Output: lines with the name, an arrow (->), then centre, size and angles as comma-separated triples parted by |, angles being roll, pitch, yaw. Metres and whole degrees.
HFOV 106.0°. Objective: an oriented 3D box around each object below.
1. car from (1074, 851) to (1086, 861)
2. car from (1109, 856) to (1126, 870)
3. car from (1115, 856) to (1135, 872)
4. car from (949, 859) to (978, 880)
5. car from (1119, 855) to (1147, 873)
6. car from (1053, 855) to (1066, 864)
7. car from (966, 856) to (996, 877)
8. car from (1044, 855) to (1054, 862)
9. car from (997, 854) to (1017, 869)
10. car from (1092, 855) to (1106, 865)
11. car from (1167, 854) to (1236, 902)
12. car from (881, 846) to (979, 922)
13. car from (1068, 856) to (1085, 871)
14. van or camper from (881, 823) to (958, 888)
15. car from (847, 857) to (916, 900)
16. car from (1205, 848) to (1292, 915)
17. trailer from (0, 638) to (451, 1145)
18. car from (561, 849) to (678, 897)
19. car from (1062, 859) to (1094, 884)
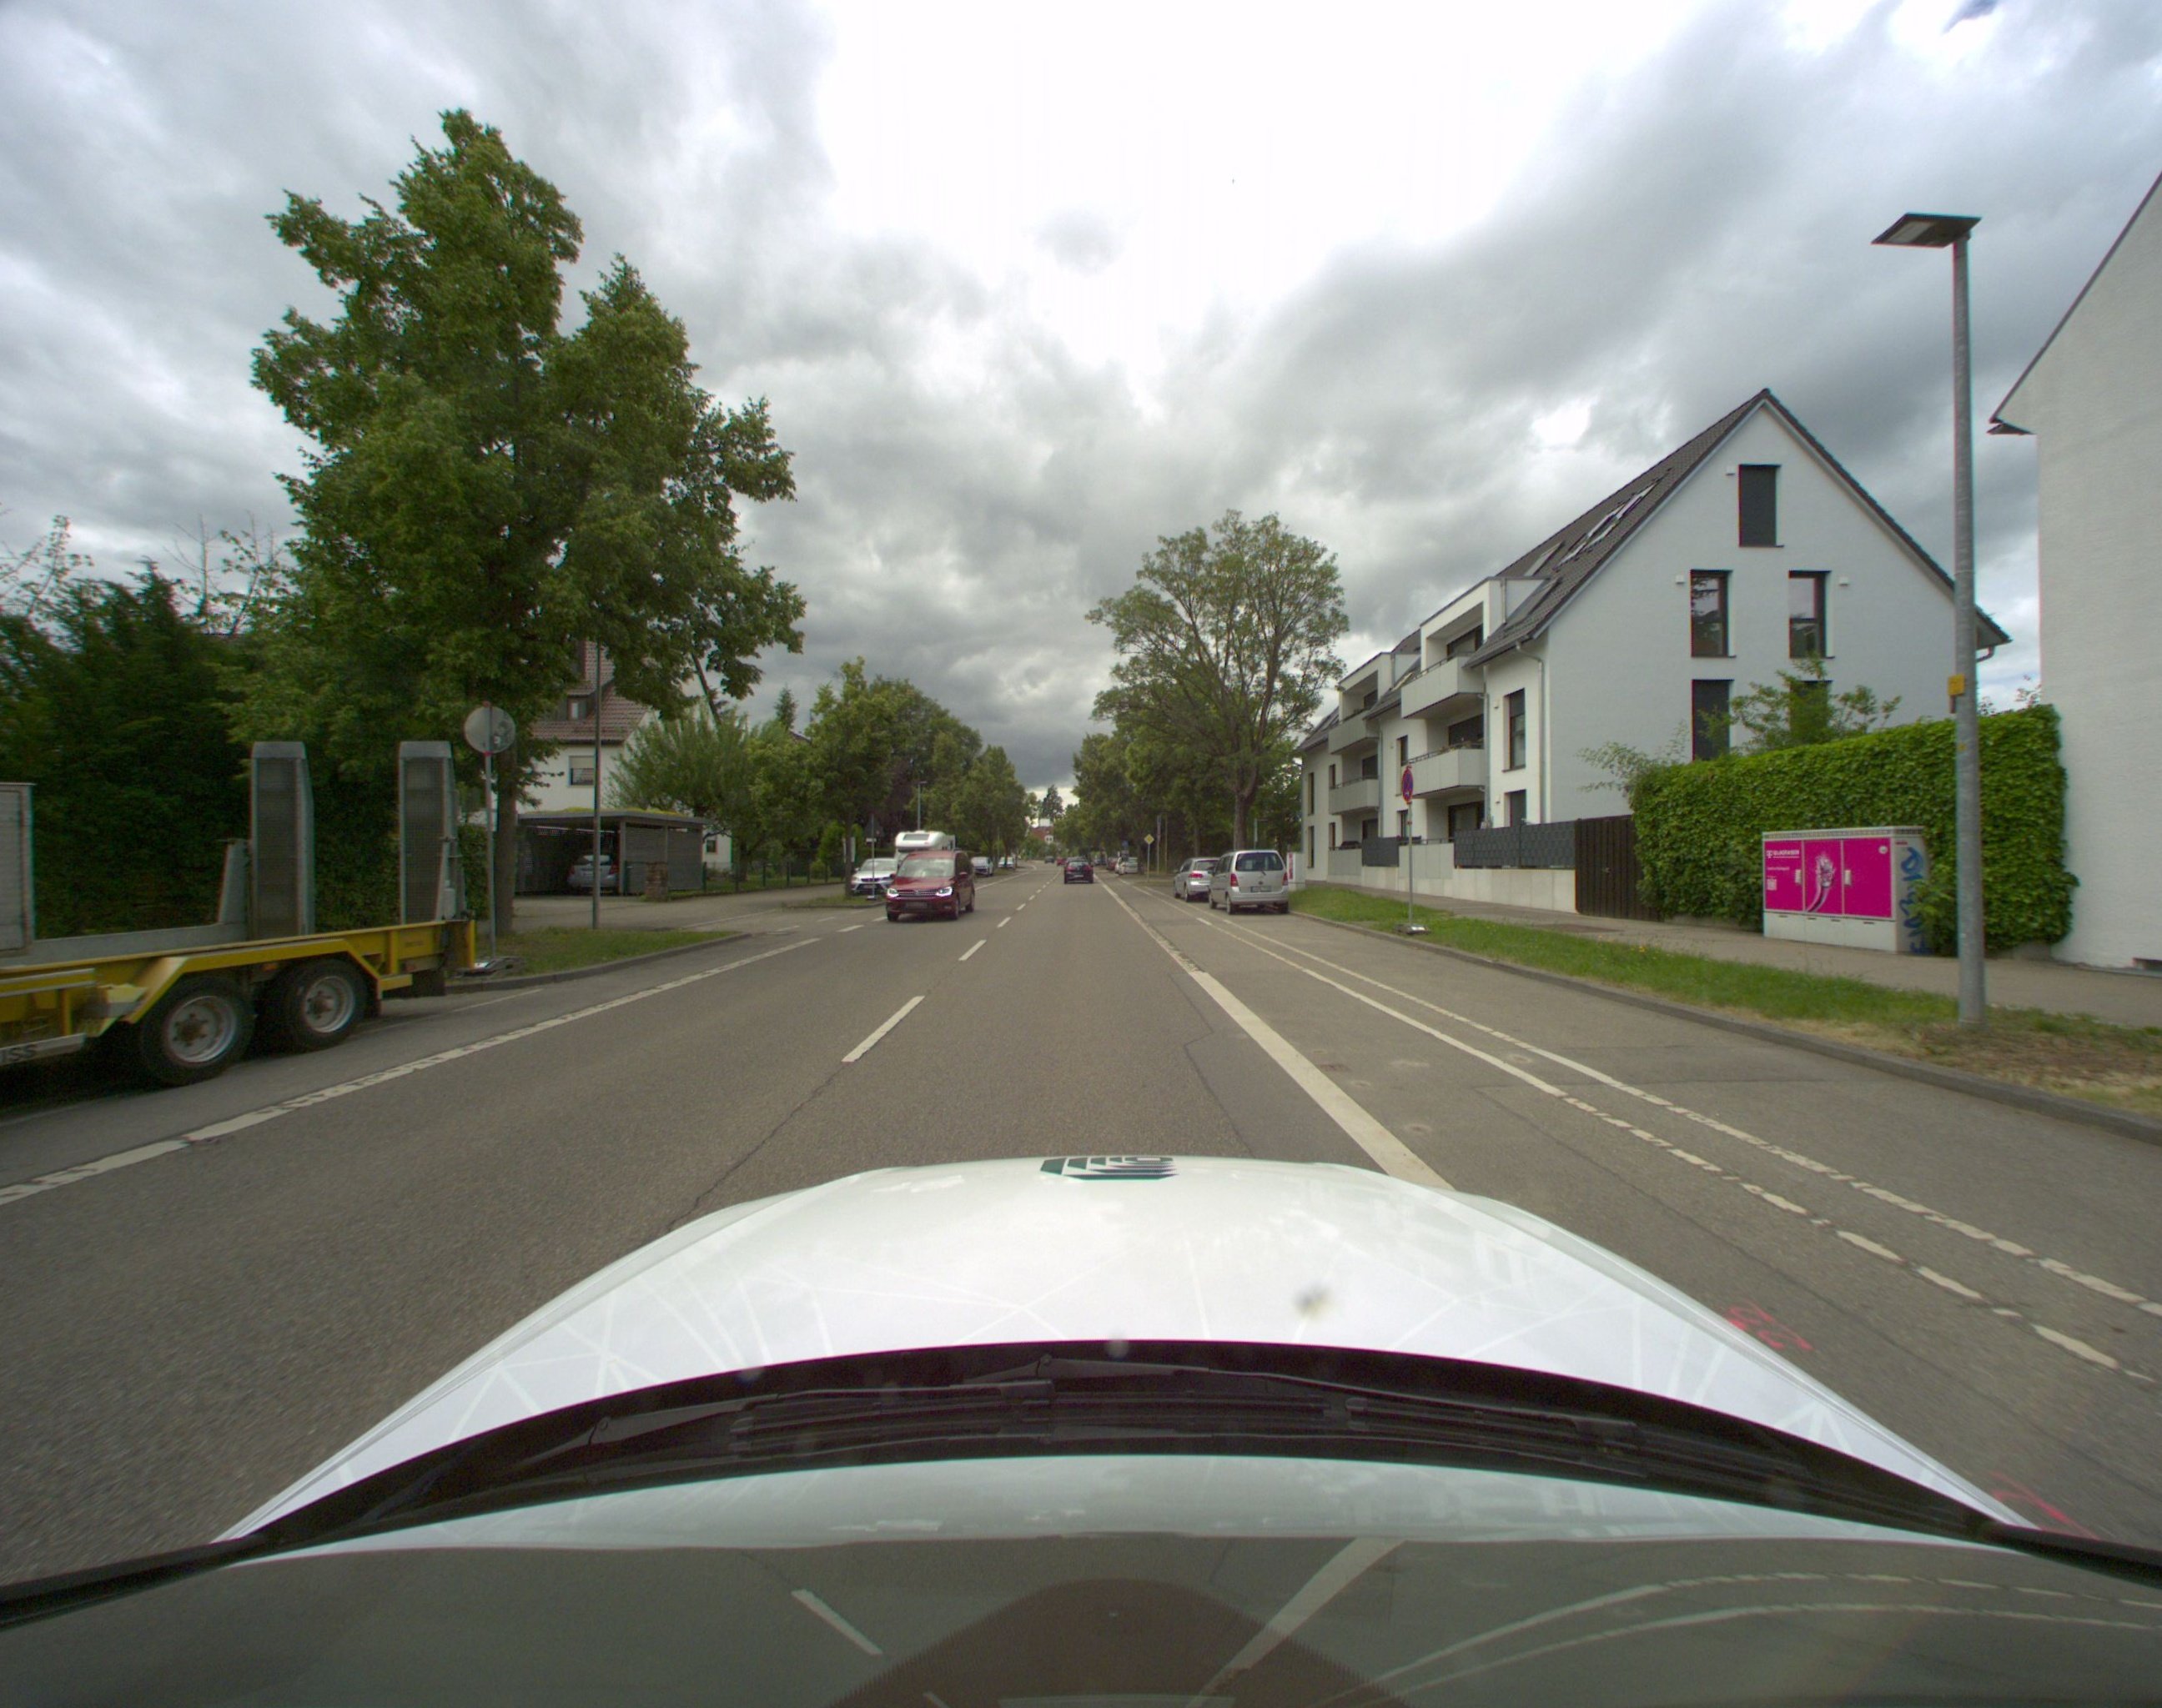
car -> -0.232, 0.354, 148.818 | 1.786, 1.772, 3.974 | -1, 0, -6
car -> 3.868, 0.977, 86.311 | 1.632, 1.420, 4.001 | -1, 0, 1
car -> 3.982, 0.909, 74.419 | 1.611, 1.460, 3.656 | -1, 0, -1
car -> -8.298, 1.069, 57.916 | 1.551, 1.470, 4.448 | 0, 0, -2
car -> 4.158, 0.793, 65.971 | 2.014, 1.443, 5.024 | 0, 0, 0
car -> -3.558, 0.877, 133.960 | 1.988, 1.530, 3.996 | -1, 0, -2
car -> -8.299, 0.997, 67.731 | 1.810, 1.652, 4.700 | 0, 0, 1
car -> -6.579, 0.939, 167.853 | 1.991, 1.508, 3.992 | 0, -1, -5
car -> -8.576, 0.841, 95.049 | 1.868, 1.688, 4.864 | -1, 0, -1
car -> 2.676, 0.856, 121.291 | 1.681, 1.432, 4.036 | -1, 0, -6
car -> 4.099, 0.787, 28.271 | 1.682, 1.493, 4.225 | -1, 0, -1
car -> -3.935, 0.736, 21.991 | 1.755, 1.803, 4.767 | -1, 0, -1
car -> -0.579, 1.143, 97.502 | 1.988, 1.557, 3.999 | -1, 2, -1
van or camper -> -8.123, 0.103, 41.916 | 2.427, 3.009, 7.691 | -1, 0, 0
car -> -7.991, 0.948, 32.948 | 1.717, 1.600, 4.271 | -1, 0, 0
car -> 4.514, 0.702, 22.437 | 1.627, 1.665, 3.647 | -1, 0, 0
trailer -> -7.596, 0.210, 4.369 | 2.666, 2.941, 7.471 | 0, -1, -1
car -> -15.792, 0.613, 28.098 | 1.701, 1.530, 4.000 | -1, 0, 1
car -> -0.200, 1.020, 48.625 | 1.779, 1.449, 3.554 | -1, 0, -3
